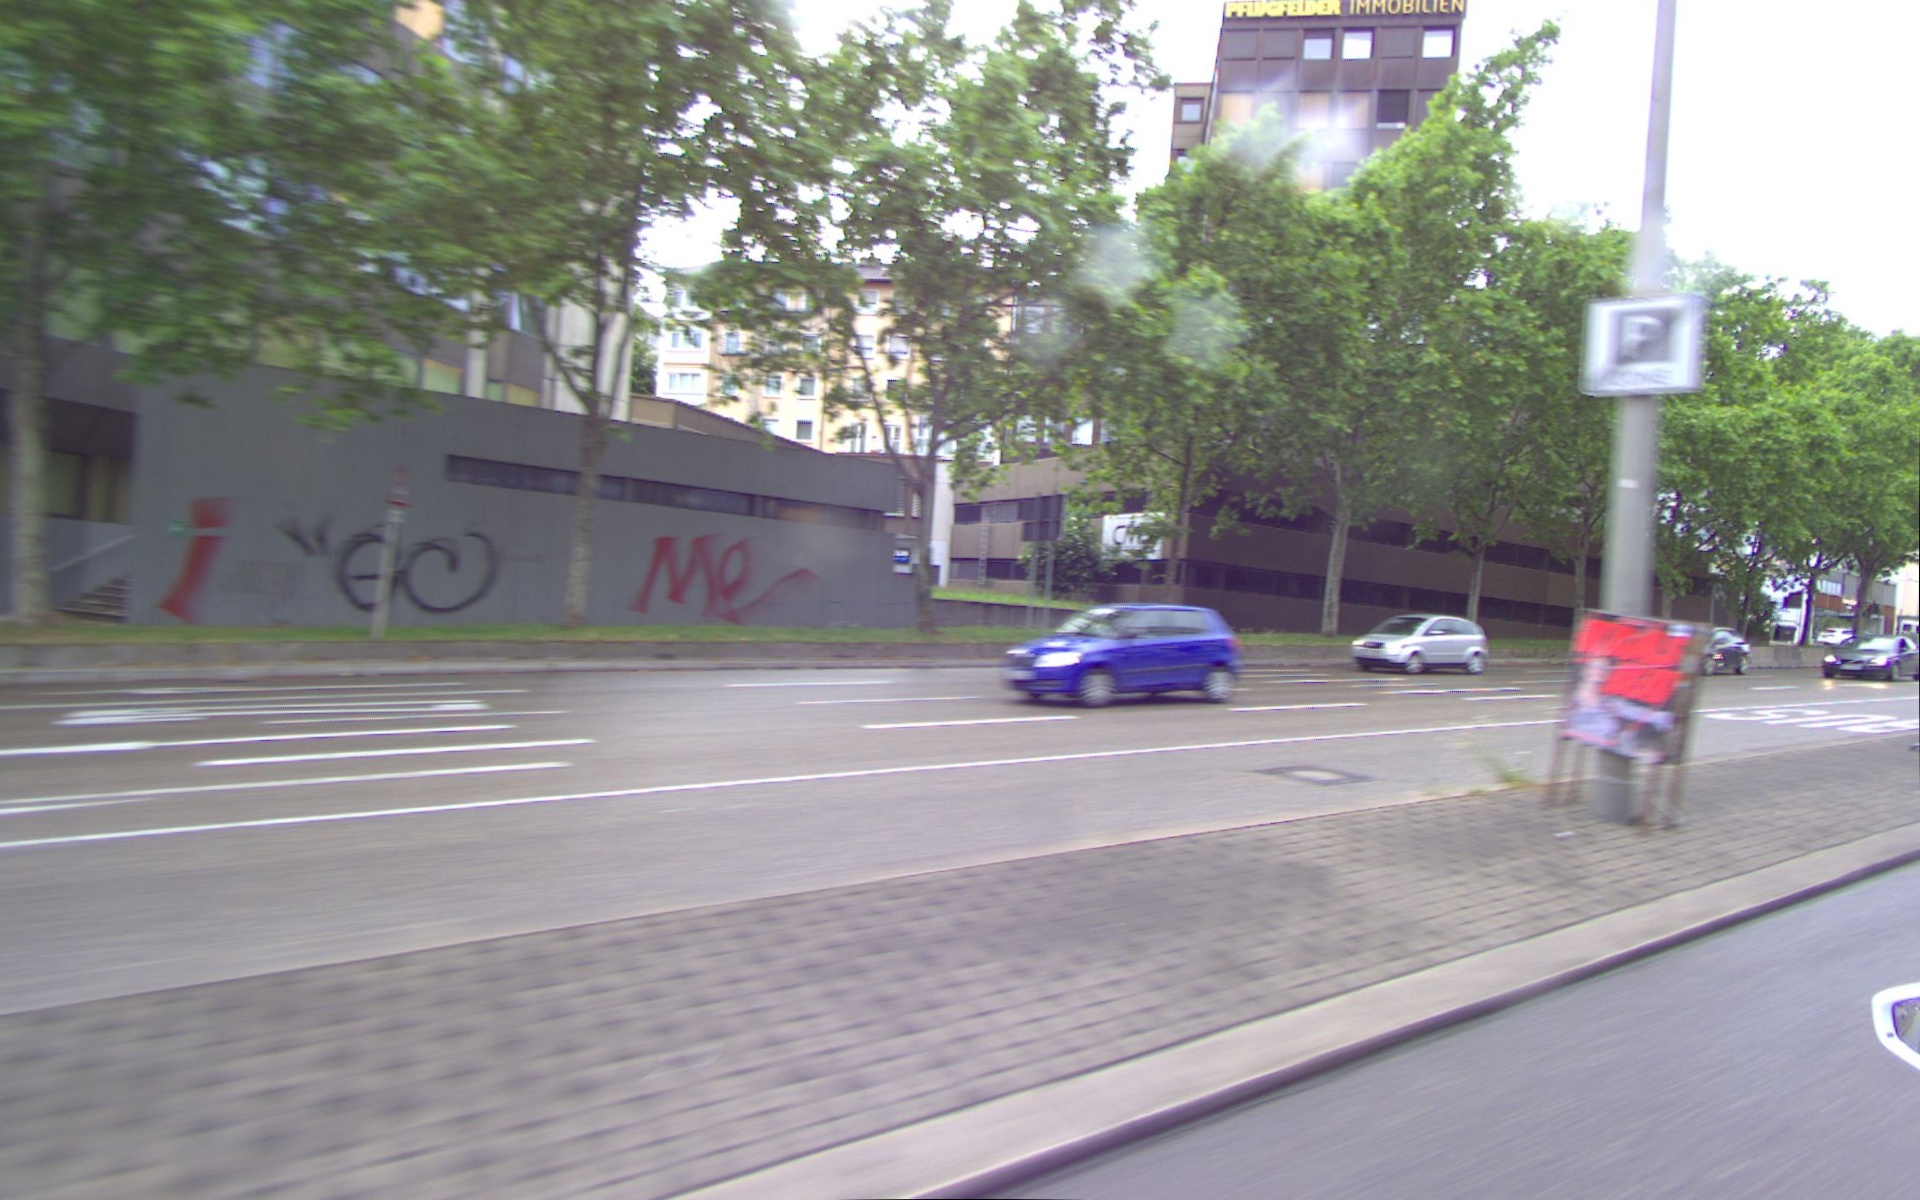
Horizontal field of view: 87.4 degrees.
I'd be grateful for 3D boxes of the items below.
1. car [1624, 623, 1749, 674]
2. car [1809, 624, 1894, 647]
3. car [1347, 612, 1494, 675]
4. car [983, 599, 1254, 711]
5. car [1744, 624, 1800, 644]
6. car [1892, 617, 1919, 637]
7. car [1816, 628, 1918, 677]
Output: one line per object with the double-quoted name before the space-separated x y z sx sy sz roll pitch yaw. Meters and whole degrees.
"car" 23.080 1.523 31.860 4.677 1.466 1.733 2 0 -34
"car" 66.559 2.661 75.043 4.485 1.530 1.827 2 -2 6
"car" 12.211 1.132 26.596 3.709 1.511 1.591 1 1 -28
"car" 2.475 0.781 15.330 4.022 1.493 1.600 1 0 -32
"car" 64.034 2.697 79.249 3.127 1.445 1.279 2 -2 13
"car" 87.733 2.471 91.734 1.807 1.723 3.605 3 -2 -35
"car" 29.026 1.667 32.128 3.962 1.428 1.675 2 -1 -36
